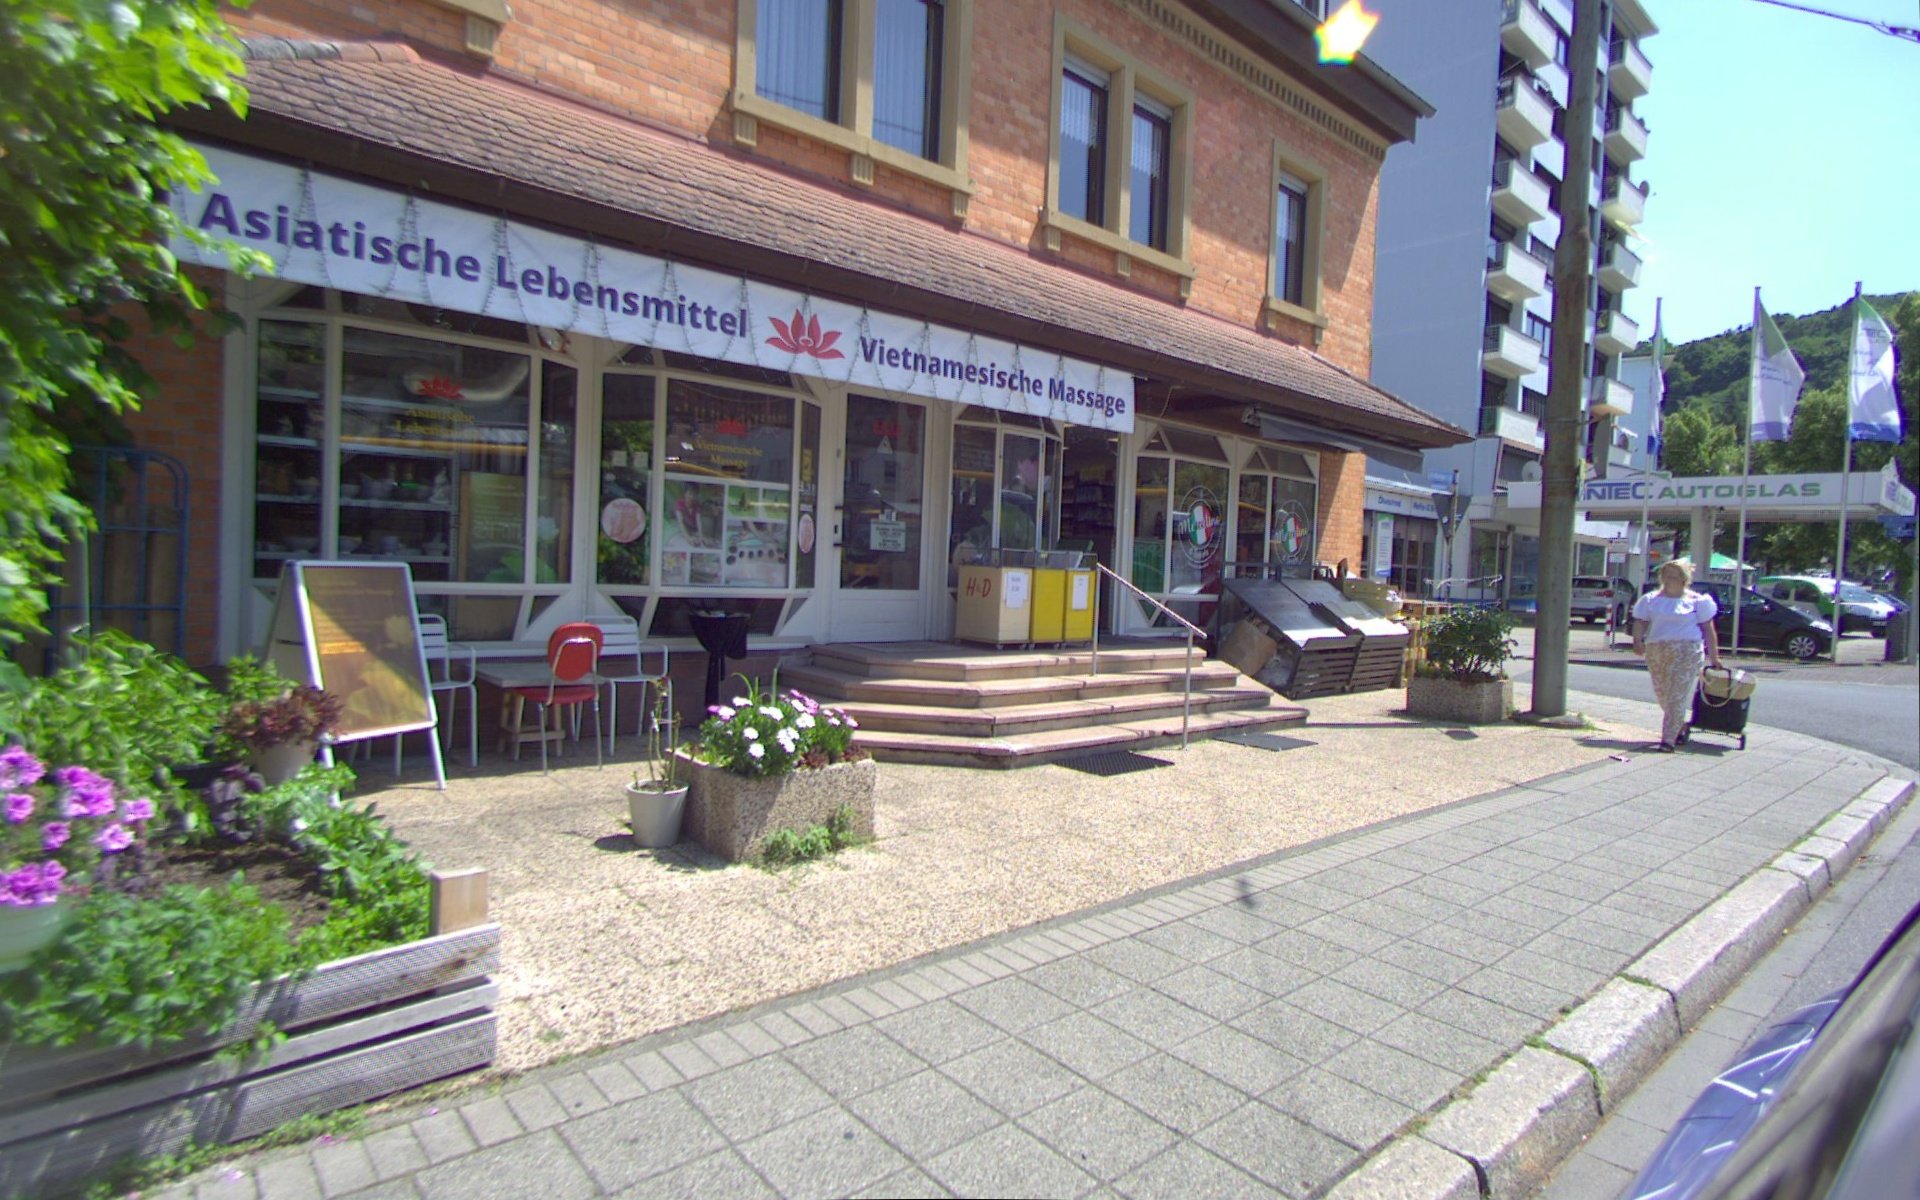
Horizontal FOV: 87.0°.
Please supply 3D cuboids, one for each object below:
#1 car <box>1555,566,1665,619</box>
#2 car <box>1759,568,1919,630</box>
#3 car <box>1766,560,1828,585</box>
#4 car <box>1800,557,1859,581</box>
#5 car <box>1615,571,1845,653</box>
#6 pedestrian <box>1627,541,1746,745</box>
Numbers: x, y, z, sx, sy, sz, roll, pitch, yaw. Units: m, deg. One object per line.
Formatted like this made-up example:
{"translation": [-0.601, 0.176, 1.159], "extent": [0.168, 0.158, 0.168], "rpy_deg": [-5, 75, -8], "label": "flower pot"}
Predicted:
{"translation": [21.713, -0.272, 33.725], "extent": [4.622, 1.646, 1.750], "rpy_deg": [0, 2, -40], "label": "car"}
{"translation": [27.878, -0.087, 31.964], "extent": [1.788, 1.812, 4.292], "rpy_deg": [-1, 1, -1], "label": "car"}
{"translation": [71.694, -2.345, 86.663], "extent": [5.274, 2.038, 2.405], "rpy_deg": [-1, 1, -30], "label": "car"}
{"translation": [77.321, -2.736, 89.983], "extent": [5.274, 2.038, 2.405], "rpy_deg": [-1, 1, -30], "label": "car"}
{"translation": [16.888, 0.189, 22.405], "extent": [3.867, 1.561, 1.818], "rpy_deg": [3, 3, 37], "label": "car"}
{"translation": [6.316, 0.348, 8.799], "extent": [0.704, 1.661, 0.650], "rpy_deg": [4, 2, 40], "label": "pedestrian"}
